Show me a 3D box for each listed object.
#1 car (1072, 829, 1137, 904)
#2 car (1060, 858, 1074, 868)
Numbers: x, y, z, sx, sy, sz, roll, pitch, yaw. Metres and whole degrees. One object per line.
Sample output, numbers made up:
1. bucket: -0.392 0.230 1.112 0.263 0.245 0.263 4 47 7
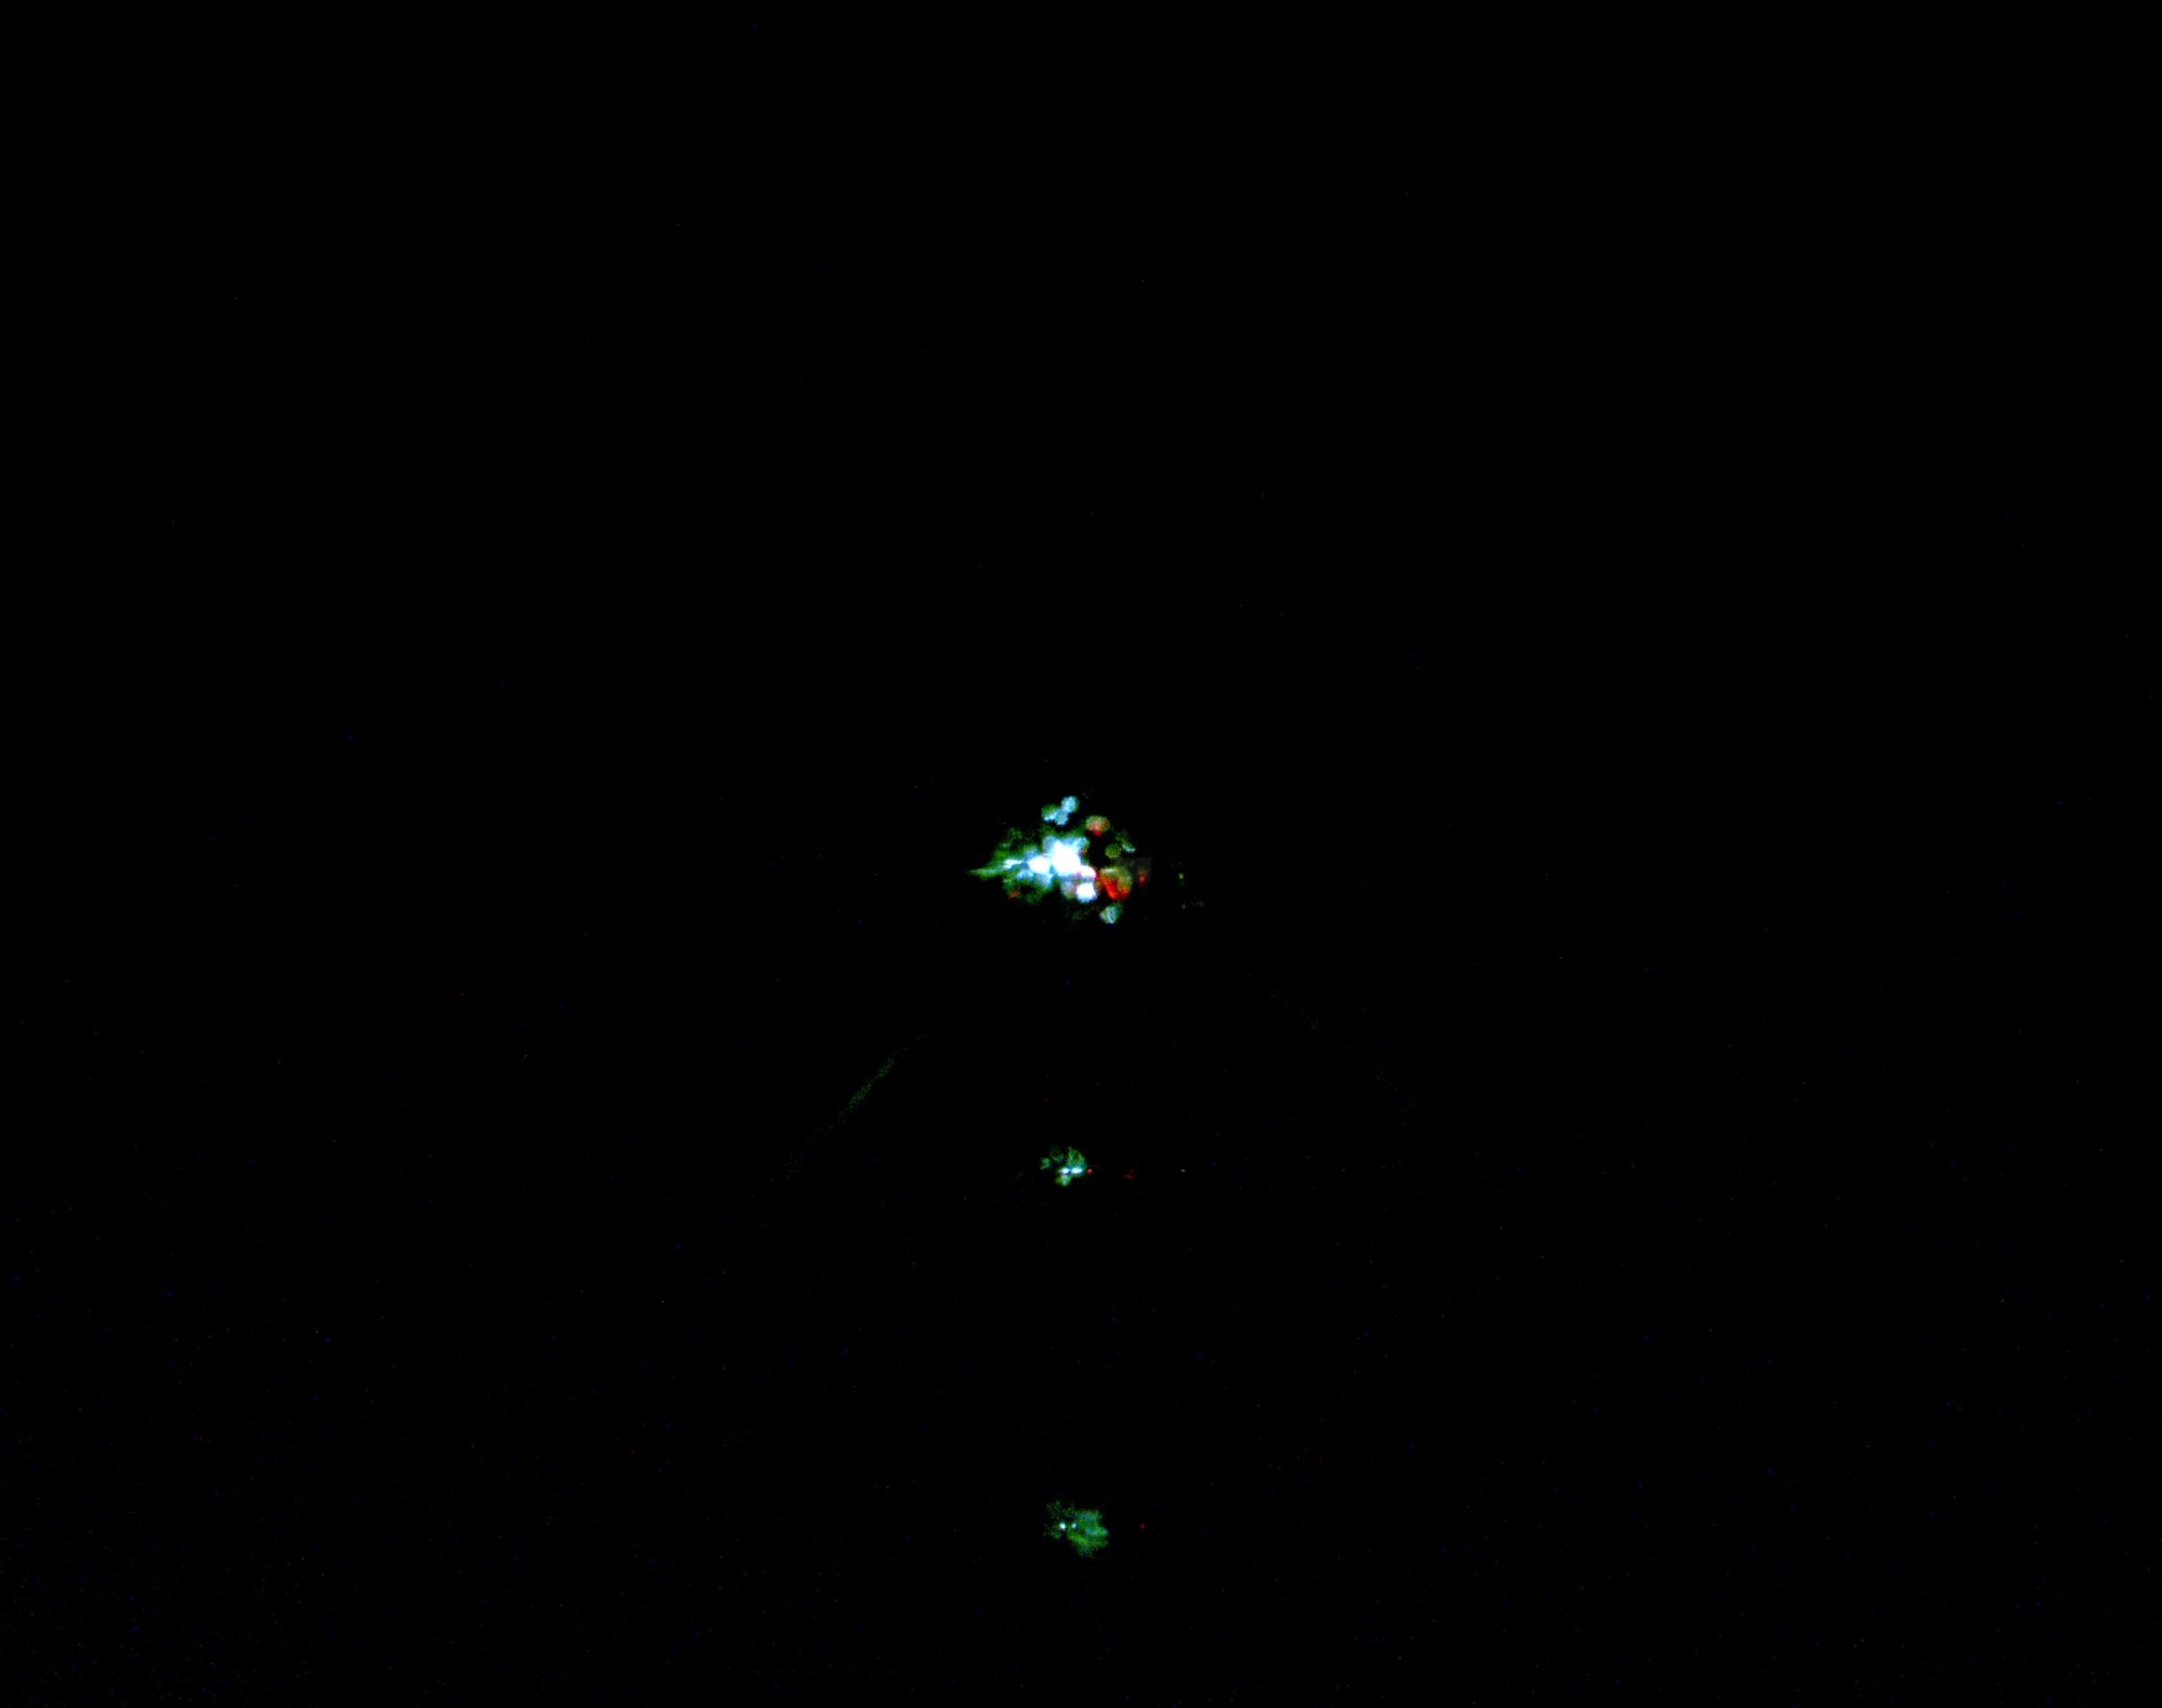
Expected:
1. car: 0.915 0.369 30.471 2.172 2.557 4.511 1 1 2
2. car: -2.121 1.322 121.733 1.968 1.516 4.346 -1 0 0
